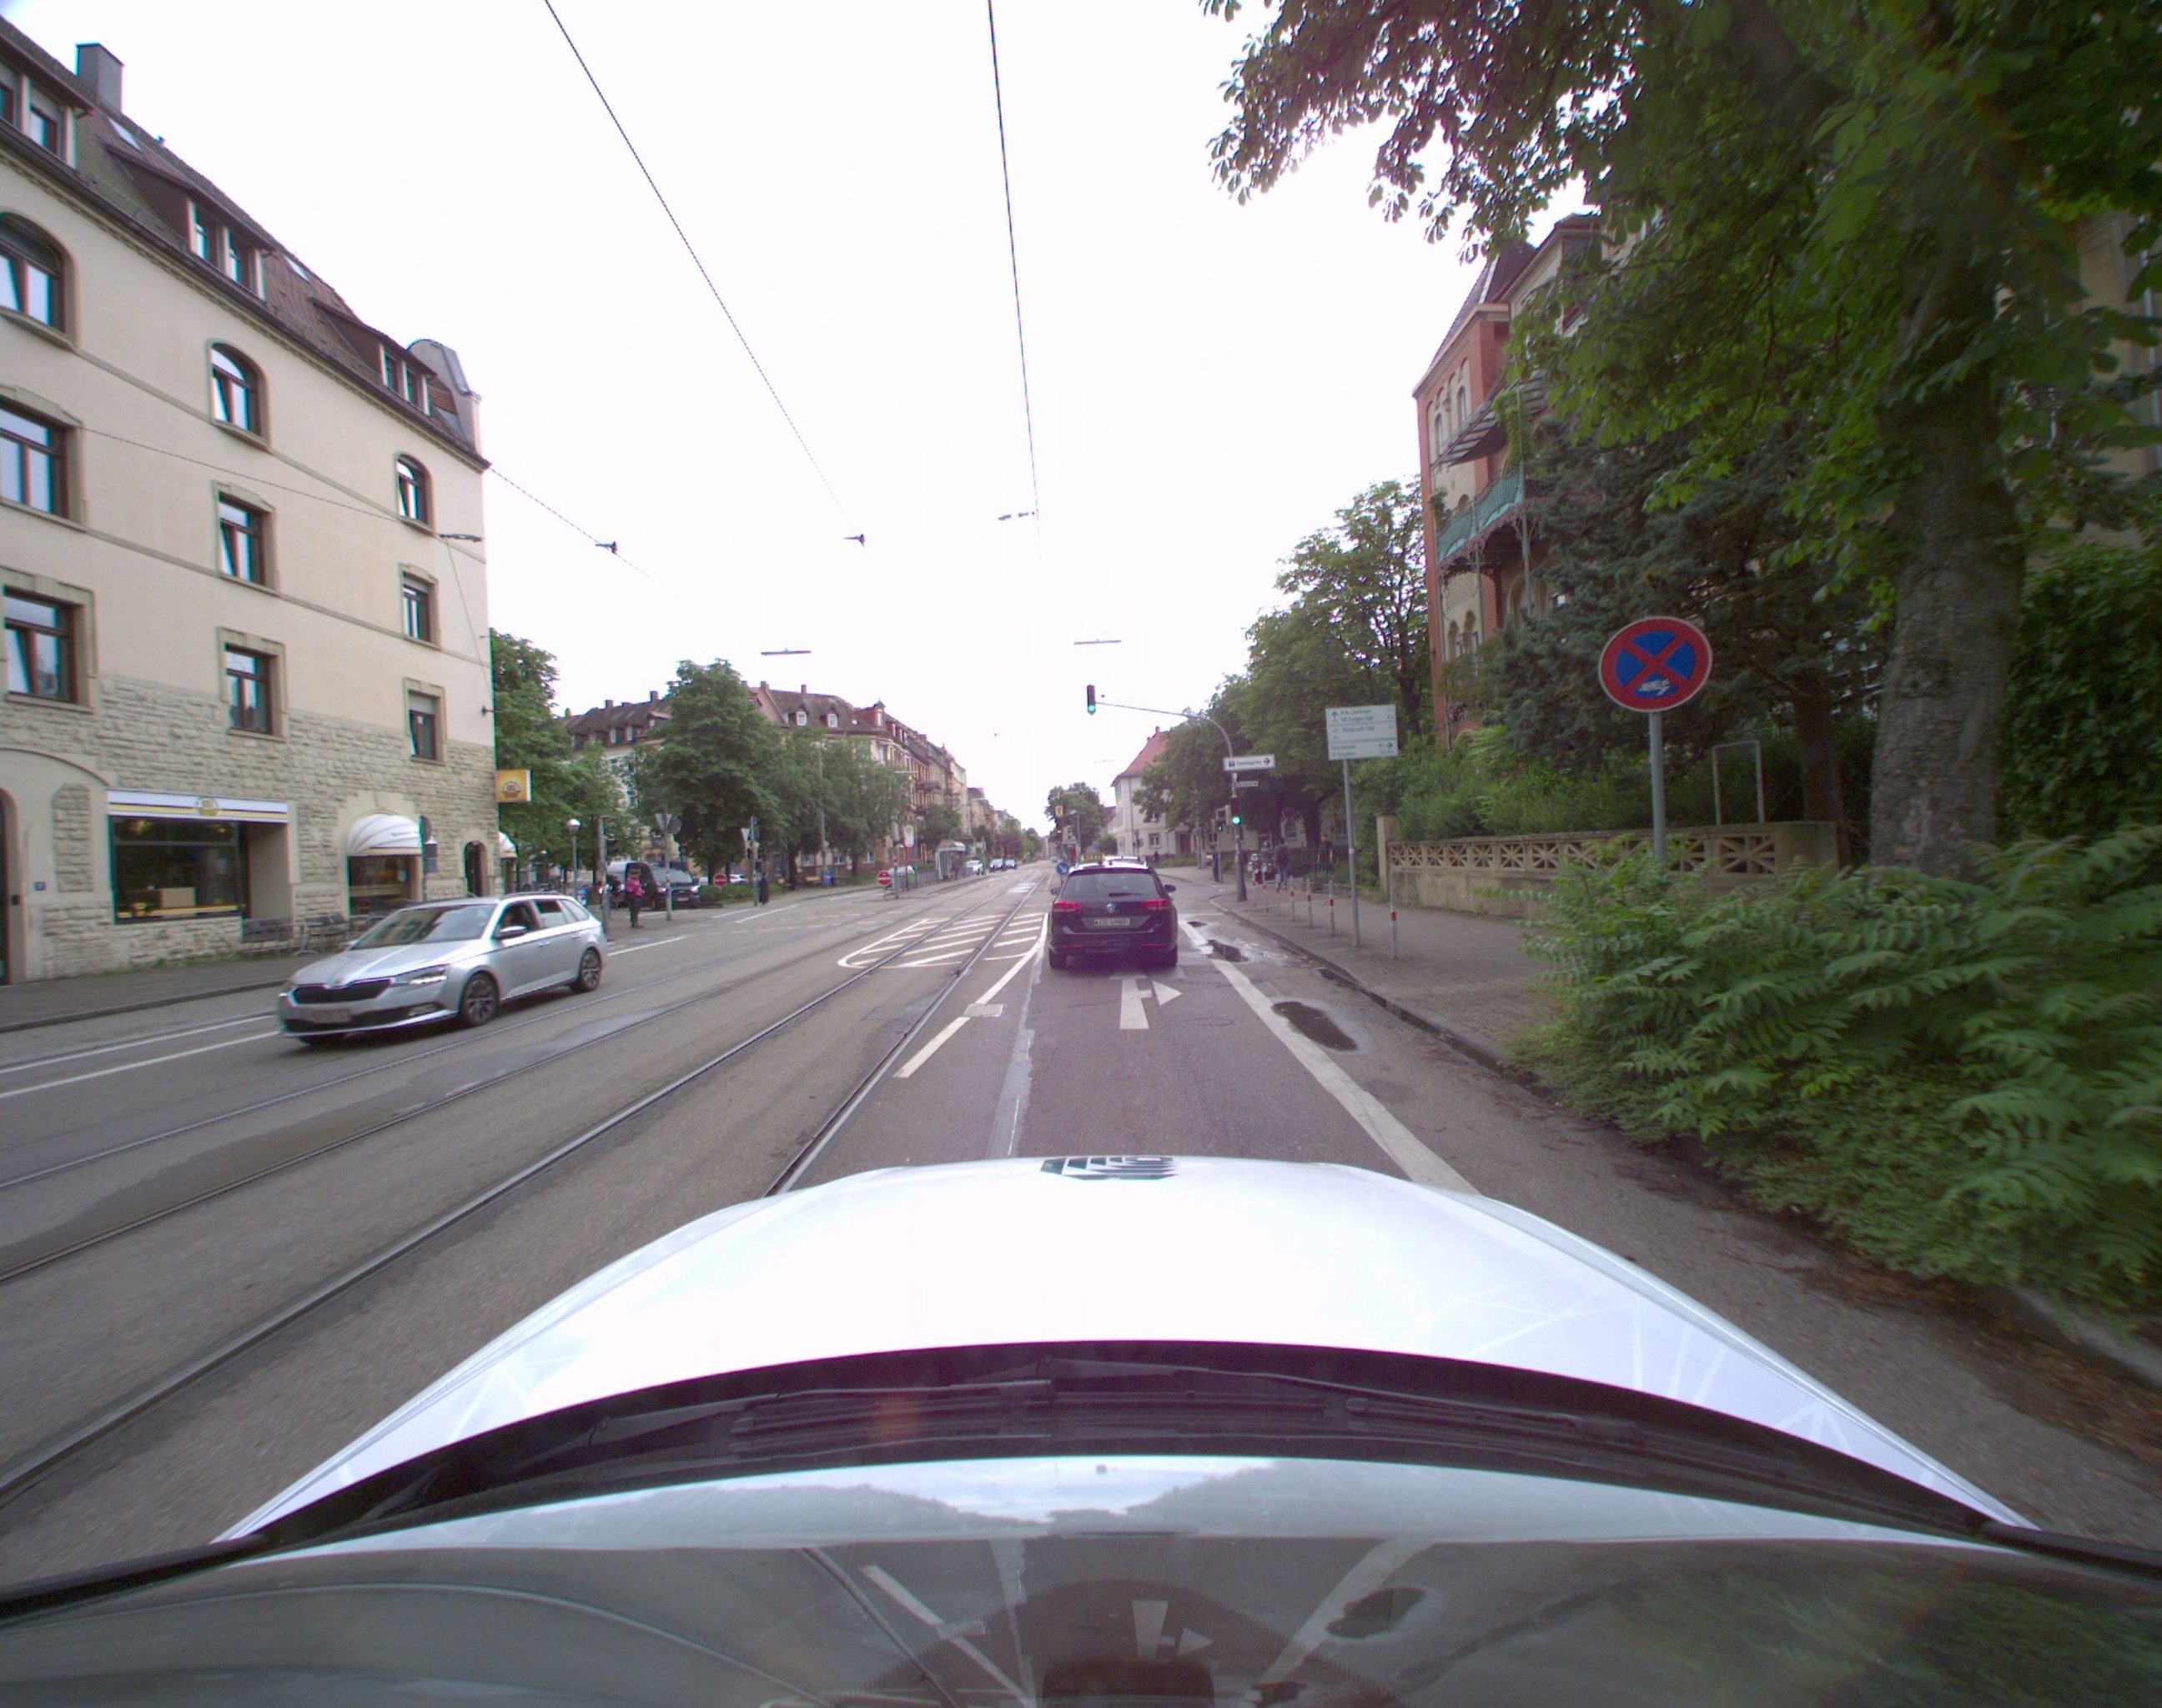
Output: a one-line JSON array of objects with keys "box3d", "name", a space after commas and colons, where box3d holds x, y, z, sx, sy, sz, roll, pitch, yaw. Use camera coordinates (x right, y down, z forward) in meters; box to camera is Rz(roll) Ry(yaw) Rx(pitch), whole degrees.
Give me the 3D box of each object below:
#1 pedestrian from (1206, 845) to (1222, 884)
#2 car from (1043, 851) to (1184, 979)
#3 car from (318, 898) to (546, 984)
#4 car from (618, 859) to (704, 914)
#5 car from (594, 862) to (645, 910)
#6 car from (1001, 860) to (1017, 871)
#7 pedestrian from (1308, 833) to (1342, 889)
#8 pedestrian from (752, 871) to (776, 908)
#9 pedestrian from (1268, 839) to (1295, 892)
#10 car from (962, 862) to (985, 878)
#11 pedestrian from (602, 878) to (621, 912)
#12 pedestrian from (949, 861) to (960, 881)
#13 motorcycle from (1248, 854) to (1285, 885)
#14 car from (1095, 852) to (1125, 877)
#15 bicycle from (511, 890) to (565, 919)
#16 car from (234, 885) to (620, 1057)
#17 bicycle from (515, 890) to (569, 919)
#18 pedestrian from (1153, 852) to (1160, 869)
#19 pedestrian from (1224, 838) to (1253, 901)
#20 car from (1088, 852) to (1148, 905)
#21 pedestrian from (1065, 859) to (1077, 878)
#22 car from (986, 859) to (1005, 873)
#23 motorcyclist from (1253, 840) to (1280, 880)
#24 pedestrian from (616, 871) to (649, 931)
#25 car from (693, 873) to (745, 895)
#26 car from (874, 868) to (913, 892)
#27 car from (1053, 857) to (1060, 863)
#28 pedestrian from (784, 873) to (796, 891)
[{"box3d": [6.471, 0.521, 39.529, 0.513, 1.830, 0.418, -6, 0, -1], "name": "pedestrian"}, {"box3d": [0.375, 0.780, 12.337, 1.719, 1.546, 3.998, -3, 0, -1], "name": "car"}, {"box3d": [-13.325, 1.719, 17.100, 1.645, 1.361, 4.124, -1, 0, -4], "name": "car"}, {"box3d": [-20.533, 1.577, 39.674, 2.198, 2.417, 5.314, -3, 0, -44], "name": "car"}, {"box3d": [-27.122, 1.870, 47.783, 2.194, 2.527, 5.324, -3, 0, -33], "name": "car"}, {"box3d": [-10.750, 1.728, 121.733, 1.789, 1.596, 4.001, -3, 0, 1], "name": "car"}, {"box3d": [8.249, 0.229, 27.565, 0.656, 1.831, 0.790, -3, -1, -42], "name": "pedestrian"}, {"box3d": [-15.107, 1.692, 38.785, 0.834, 1.663, 0.591, -3, 0, 0], "name": "pedestrian"}, {"box3d": [7.032, 0.396, 28.530, 0.631, 1.815, 0.725, -3, 0, -4], "name": "pedestrian"}, {"box3d": [-11.590, 1.694, 87.743, 1.789, 1.596, 4.001, -3, 0, 1], "name": "car"}, {"box3d": [-24.706, 2.156, 42.824, 0.704, 1.715, 0.545, -3, -1, -41], "name": "pedestrian"}, {"box3d": [-9.734, 1.301, 62.739, 0.712, 1.520, 0.590, -3, 0, 0], "name": "pedestrian"}, {"box3d": [7.983, 0.646, 34.965, 1.917, 1.235, 0.442, -3, 0, -41], "name": "motorcycle"}, {"box3d": [1.933, 0.702, 55.537, 1.719, 1.546, 3.998, -3, 0, -1], "name": "car"}, {"box3d": [-23.191, 2.151, 34.806, 0.354, 1.076, 1.826, -3, 0, 42], "name": "bicycle"}, {"box3d": [-7.504, 1.214, 9.956, 1.687, 1.410, 3.991, -4, 0, -6], "name": "car"}, {"box3d": [-22.658, 2.117, 34.266, 0.354, 1.076, 1.826, -3, 0, 42], "name": "bicycle"}, {"box3d": [6.947, 0.580, 74.829, 0.579, 1.553, 0.610, -3, 0, 1], "name": "pedestrian"}, {"box3d": [4.736, 0.453, 24.496, 0.583, 1.830, 0.604, -6, 0, 0], "name": "pedestrian"}, {"box3d": [1.165, 0.766, 27.356, 1.719, 1.546, 3.998, -3, 0, -1], "name": "car"}, {"box3d": [-0.717, 1.057, 59.067, 0.821, 1.304, 0.568, -3, 0, -2], "name": "pedestrian"}, {"box3d": [-10.881, 1.547, 103.712, 1.789, 1.596, 4.001, -3, 0, 1], "name": "car"}, {"box3d": [7.980, 0.254, 34.953, 0.809, 1.692, 0.696, -3, -1, -41], "name": "motorcyclist"}, {"box3d": [-14.201, 1.473, 25.813, 0.621, 1.842, 0.609, -3, 0, -4], "name": "pedestrian"}, {"box3d": [-31.690, 2.617, 71.403, 3.860, 1.622, 1.717, -3, 0, -17], "name": "car"}, {"box3d": [-12.233, 1.658, 53.337, 1.682, 1.382, 3.855, -3, 0, -1], "name": "car"}, {"box3d": [-7.497, 1.857, 249.104, 2.027, 2.014, 3.998, -2, -1, -1], "name": "car"}, {"box3d": [-19.602, 1.890, 54.834, 0.591, 1.168, 0.837, -3, -1, -30], "name": "pedestrian"}]
